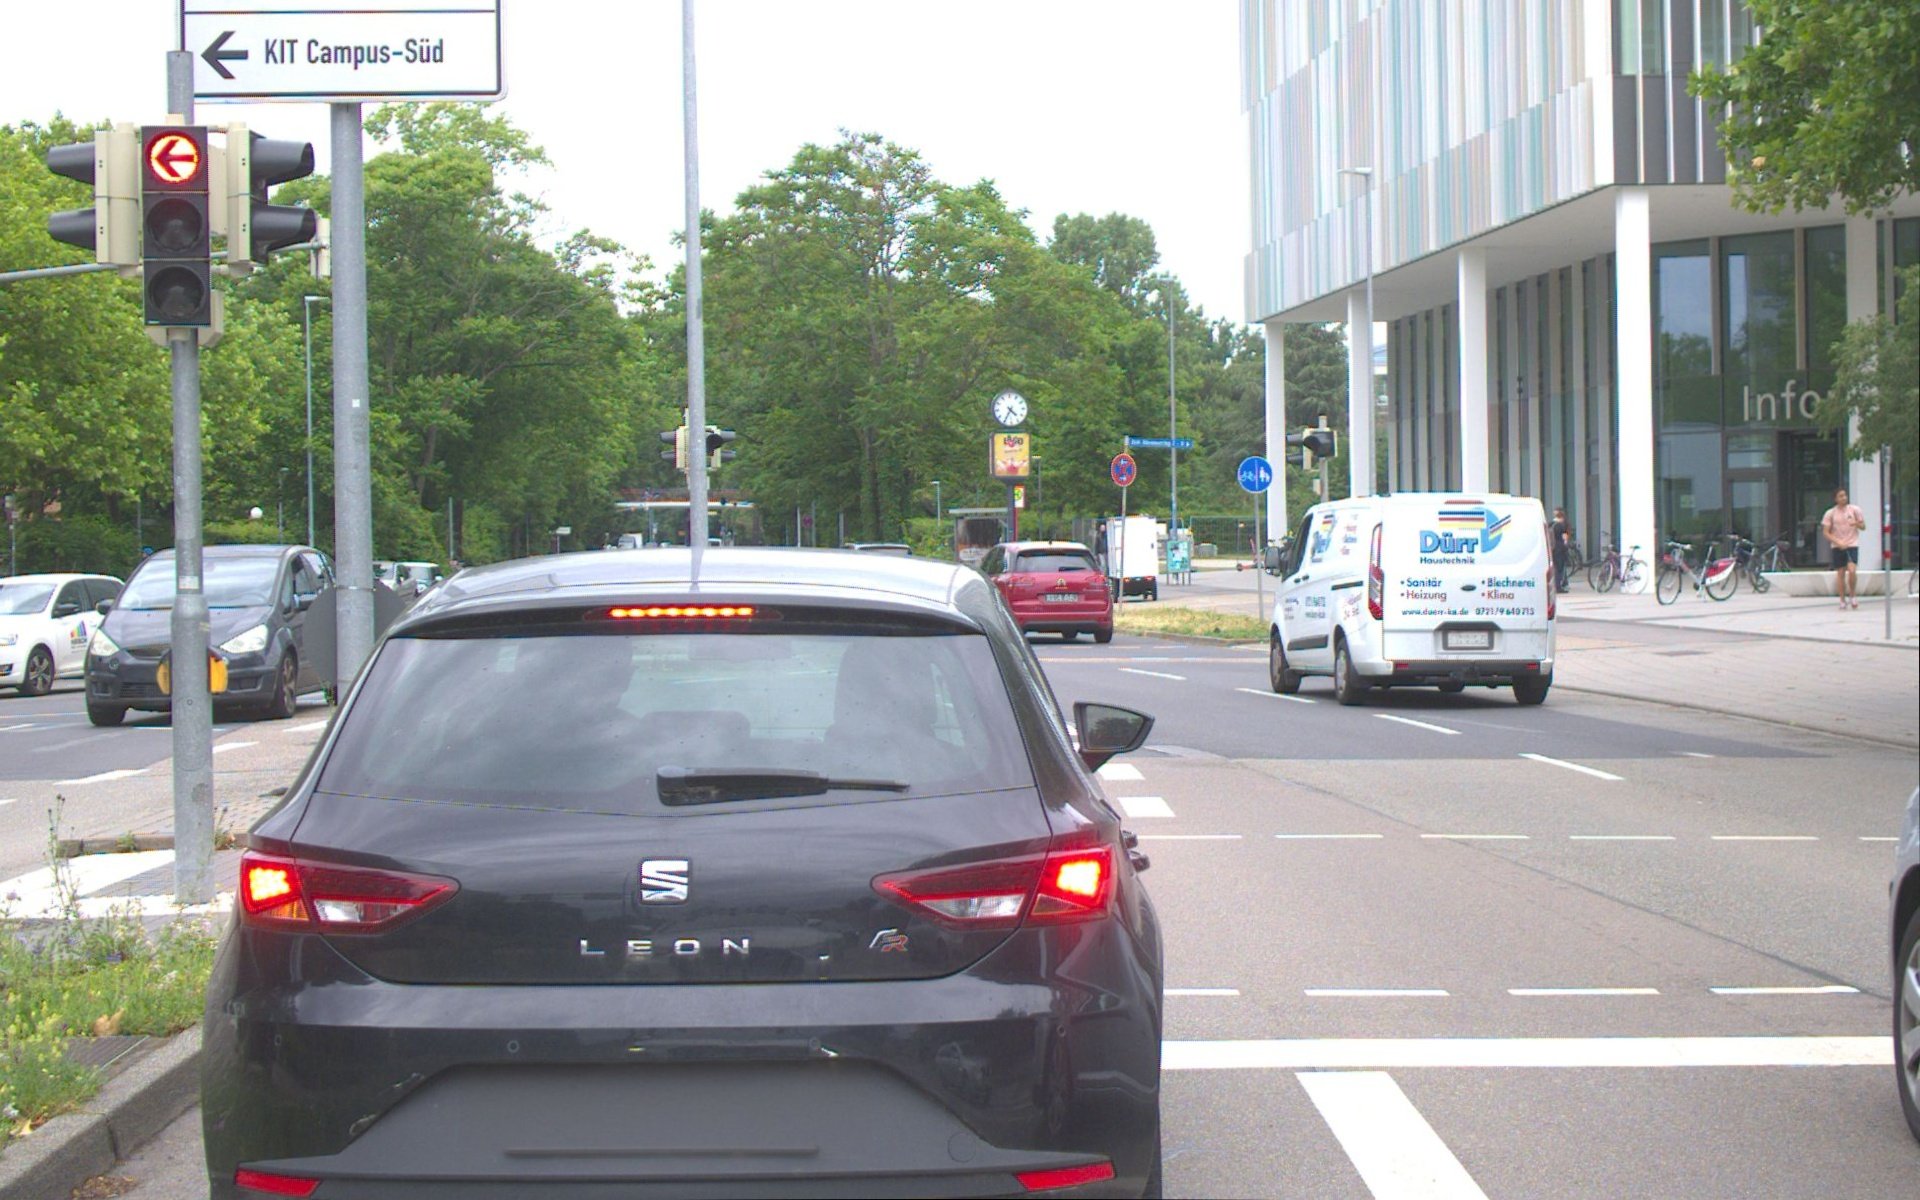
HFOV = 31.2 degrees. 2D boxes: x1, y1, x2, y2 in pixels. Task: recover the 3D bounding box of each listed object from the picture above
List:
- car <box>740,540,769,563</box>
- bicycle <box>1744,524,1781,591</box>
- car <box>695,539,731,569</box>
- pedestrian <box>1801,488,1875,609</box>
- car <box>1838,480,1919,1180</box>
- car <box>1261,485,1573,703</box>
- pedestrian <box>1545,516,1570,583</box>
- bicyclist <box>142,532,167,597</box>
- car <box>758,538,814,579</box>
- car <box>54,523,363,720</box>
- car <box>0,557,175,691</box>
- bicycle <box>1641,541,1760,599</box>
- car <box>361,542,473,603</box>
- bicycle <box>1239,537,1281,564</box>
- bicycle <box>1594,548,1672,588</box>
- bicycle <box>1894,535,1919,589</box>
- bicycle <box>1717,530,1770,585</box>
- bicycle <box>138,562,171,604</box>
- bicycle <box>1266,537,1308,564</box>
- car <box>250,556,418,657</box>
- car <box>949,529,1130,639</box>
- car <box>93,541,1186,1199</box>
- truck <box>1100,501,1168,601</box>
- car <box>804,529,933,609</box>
[{"bbox_3d":[-11.512,-2.699,192.335,1.505,1.189,3.164,-2,2,-4],"label":"car"},{"bbox_3d":[15.537,-0.829,66.544,0.527,1.248,1.664,-2,2,18],"label":"bicycle"},{"bbox_3d":[-13.287,-2.466,185.045,1.695,1.498,4.011,-2,2,-7],"label":"car"},{"bbox_3d":[13.126,-0.779,51.415,0.847,1.759,0.768,-2,1,-1],"label":"pedestrian"},{"bbox_3d":[3.104,0.554,6.464,1.729,1.597,4.106,0,1,-2],"label":"car"},{"bbox_3d":[4.358,-0.108,33.478,1.966,1.965,4.345,1,1,-7],"label":"car"},{"bbox_3d":[12.312,-1.041,70.862,0.472,1.357,0.445,-2,1,10],"label":"pedestrian"},{"bbox_3d":[-20.467,-0.902,87.391,0.491,1.619,0.588,1,2,0],"label":"bicyclist"},{"bbox_3d":[-6.316,-1.524,124.471,1.898,1.349,3.883,-2,2,-4],"label":"car"},{"bbox_3d":[-7.042,0.157,32.667,1.921,1.659,4.399,-3,1,0],"label":"car"},{"bbox_3d":[-11.248,0.276,41.484,1.706,1.426,4.225,-2,2,14],"label":"car"},{"bbox_3d":[12.569,-0.506,58.354,1.886,0.895,0.697,-3,2,-21],"label":"bicycle"},{"bbox_3d":[-15.565,-0.799,98.717,1.759,1.582,3.998,-2,2,12],"label":"car"},{"bbox_3d":[9.699,-1.602,111.277,1.258,0.845,0.482,1,0,-22],"label":"bicycle"},{"bbox_3d":[14.066,-0.671,71.841,1.479,0.746,0.566,-2,2,-3],"label":"bicycle"},{"bbox_3d":[17.863,-0.719,63.456,0.696,0.943,1.981,-1,2,30],"label":"bicycle"},{"bbox_3d":[15.807,-0.856,69.337,0.620,1.042,1.703,-2,2,26],"label":"bicycle"},{"bbox_3d":[-20.473,-0.426,87.417,0.488,1.002,1.590,1,2,-1],"label":"bicycle"},{"bbox_3d":[10.376,-1.581,109.066,1.234,0.820,0.482,1,0,-22],"label":"bicycle"},{"bbox_3d":[-9.876,0.075,54.500,1.714,1.413,4.294,-2,2,2],"label":"car"},{"bbox_3d":[1.217,-0.280,54.276,1.948,1.618,3.750,0,2,-13],"label":"car"},{"bbox_3d":[-0.461,0.607,7.399,1.753,1.427,3.769,1,1,2],"label":"car"},{"bbox_3d":[4.068,-1.172,80.708,1.317,2.235,3.402,-2,2,-1],"label":"truck"},{"bbox_3d":[-2.083,-0.713,76.749,1.914,1.658,4.116,-3,2,-15],"label":"car"}]
